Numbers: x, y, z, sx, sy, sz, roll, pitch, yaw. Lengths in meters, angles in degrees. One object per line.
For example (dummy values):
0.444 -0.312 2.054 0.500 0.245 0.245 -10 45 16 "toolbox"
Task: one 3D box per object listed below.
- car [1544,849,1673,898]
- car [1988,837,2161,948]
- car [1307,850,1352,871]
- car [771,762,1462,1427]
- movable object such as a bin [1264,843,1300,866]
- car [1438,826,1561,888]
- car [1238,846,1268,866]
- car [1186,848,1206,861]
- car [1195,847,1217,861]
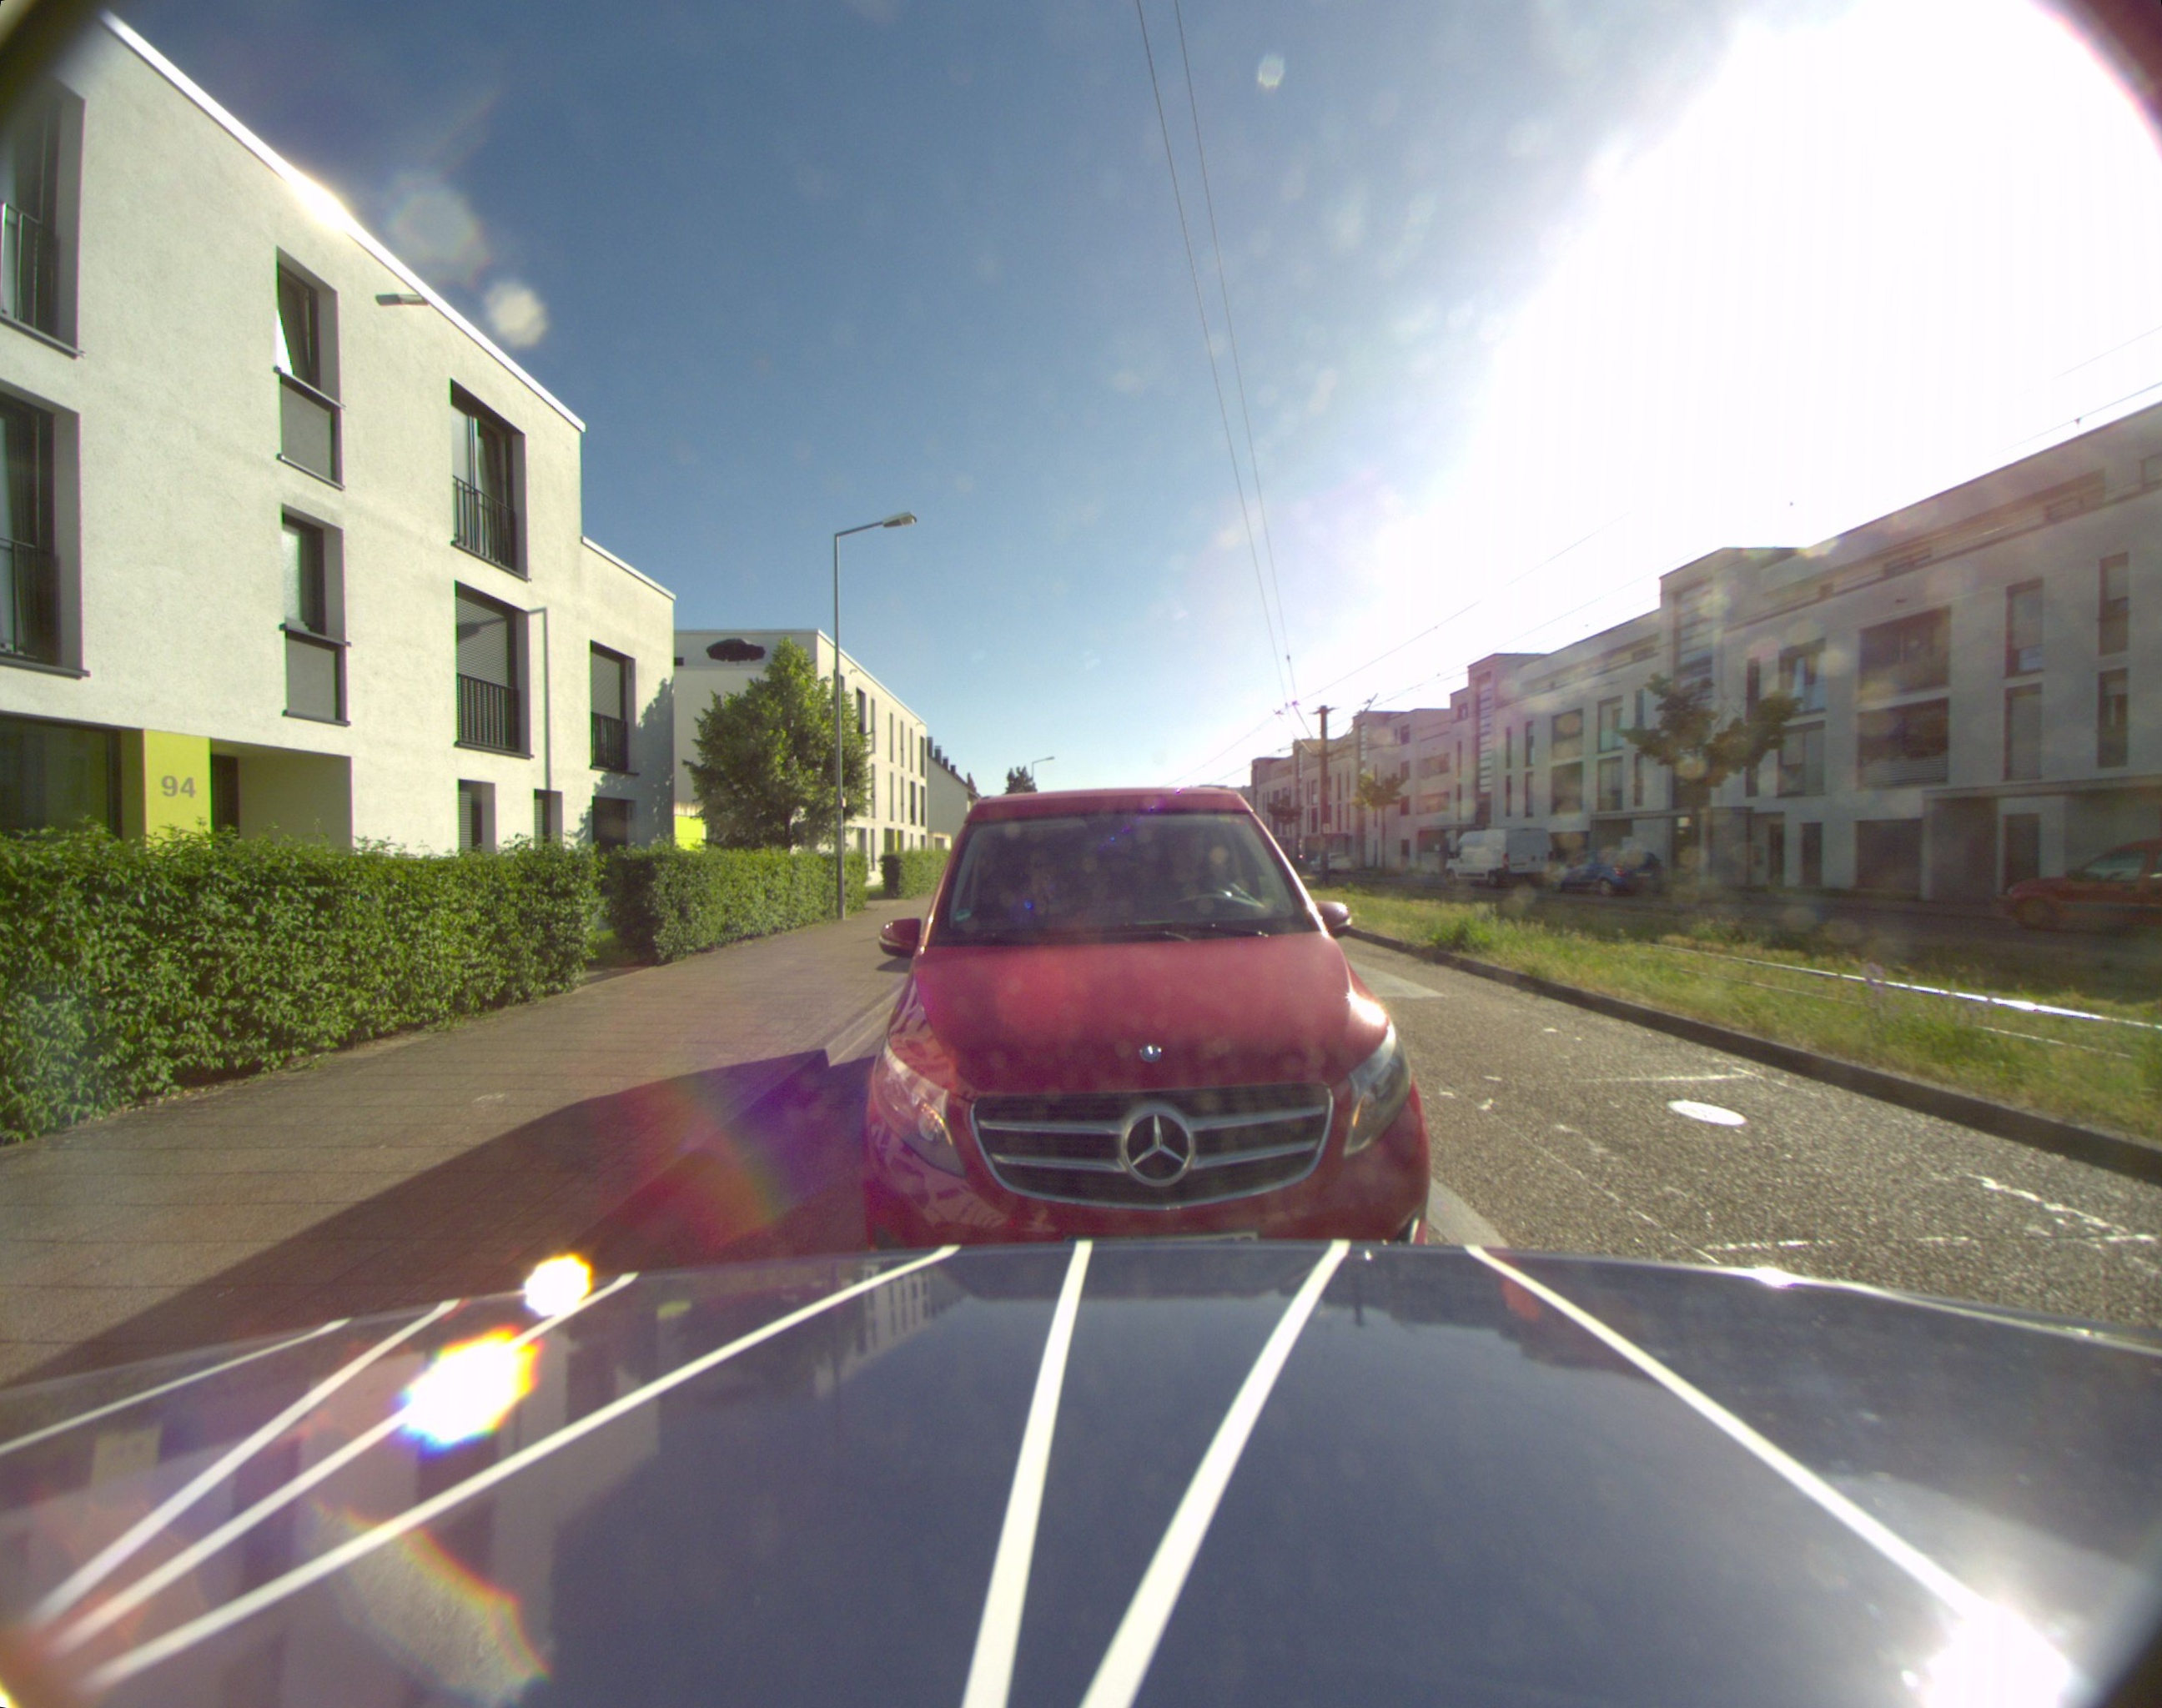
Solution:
18.236 0.628 26.487 1.829 1.528 3.842 -2 0 0 "car"
18.542 0.613 12.828 1.885 1.785 3.837 -2 0 1 "car"
17.528 0.443 53.785 1.521 1.424 4.155 -2 0 -4 "car"
0.165 0.717 4.862 1.979 1.922 5.205 -2 0 1 "car"
17.612 0.036 66.660 1.766 1.926 4.155 -2 0 -4 "movable object such as a bin"
18.130 0.116 33.284 2.146 2.430 5.588 -2 0 -1 "car"
16.766 0.183 74.259 1.766 1.859 4.155 -2 0 -4 "car"
15.032 0.073 99.578 1.766 1.590 4.155 -2 0 -4 "car"
15.418 0.008 93.943 1.766 1.590 4.155 -2 0 -4 "car"
